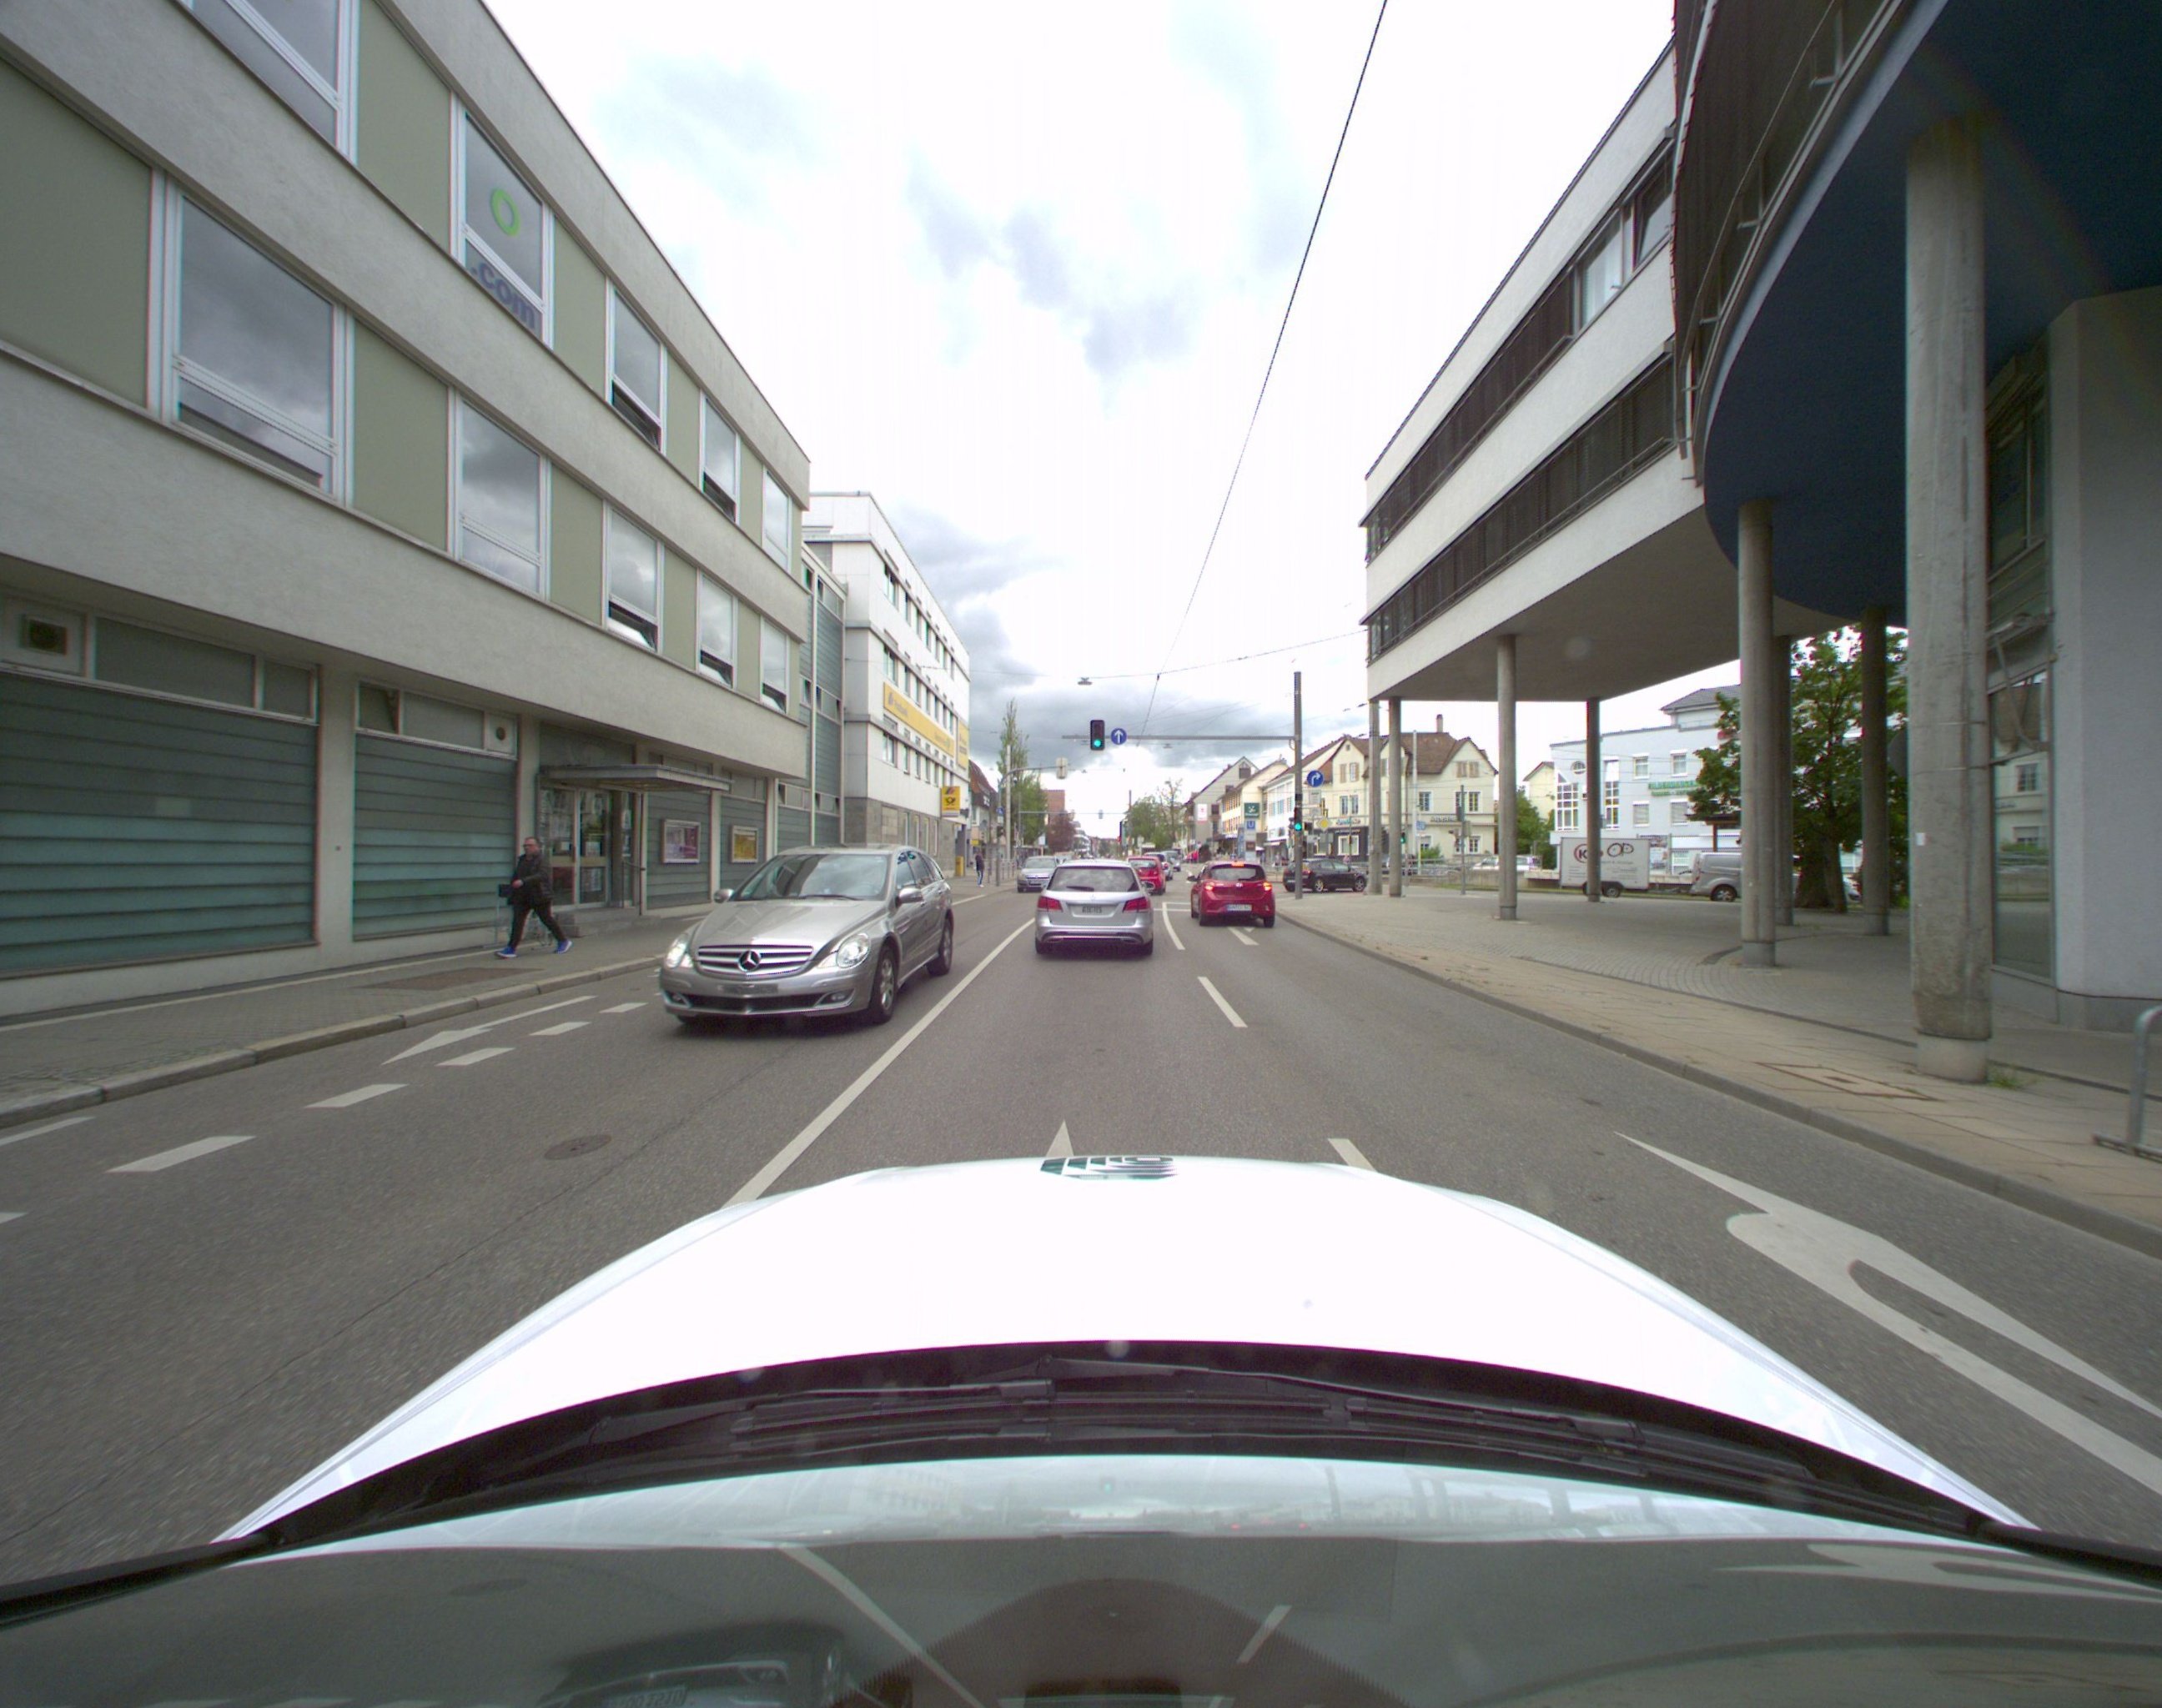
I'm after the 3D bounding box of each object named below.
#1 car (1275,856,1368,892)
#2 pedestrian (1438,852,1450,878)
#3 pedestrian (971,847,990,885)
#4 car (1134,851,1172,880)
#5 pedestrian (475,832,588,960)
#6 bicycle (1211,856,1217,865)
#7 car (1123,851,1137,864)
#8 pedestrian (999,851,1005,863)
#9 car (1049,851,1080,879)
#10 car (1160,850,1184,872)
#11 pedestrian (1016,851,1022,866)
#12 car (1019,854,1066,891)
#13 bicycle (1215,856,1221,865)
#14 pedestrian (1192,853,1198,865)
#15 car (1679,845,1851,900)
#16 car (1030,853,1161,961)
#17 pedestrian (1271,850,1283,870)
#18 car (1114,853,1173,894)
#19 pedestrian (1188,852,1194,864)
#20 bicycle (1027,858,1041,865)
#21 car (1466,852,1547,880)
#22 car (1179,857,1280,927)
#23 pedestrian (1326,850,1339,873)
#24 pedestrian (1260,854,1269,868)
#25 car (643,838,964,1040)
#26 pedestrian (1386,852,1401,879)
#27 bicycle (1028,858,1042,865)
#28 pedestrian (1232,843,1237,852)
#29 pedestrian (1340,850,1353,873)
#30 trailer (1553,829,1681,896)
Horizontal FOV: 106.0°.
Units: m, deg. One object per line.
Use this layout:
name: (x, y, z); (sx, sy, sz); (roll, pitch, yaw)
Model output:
car: (10.376, 0.816, 35.050); (4.017, 1.410, 1.721); (-1, 0, -36)
pedestrian: (24.304, 0.736, 54.546); (0.641, 1.718, 0.794); (2, 0, 28)
pedestrian: (-4.555, 0.528, 36.988); (0.644, 1.718, 0.785); (1, 0, 8)
car: (4.013, 0.622, 45.917); (1.729, 1.508, 3.998); (0, 0, -1)
pedestrian: (-7.741, 0.568, 11.533); (0.859, 1.718, 1.031); (1, 0, -1)
bicycle: (15.400, 0.752, 94.486); (0.446, 1.091, 2.150); (0, 0, 2)
car: (8.030, 0.520, 132.958); (1.987, 2.013, 3.999); (0, 0, -1)
pedestrian: (-10.594, 0.418, 109.210); (0.704, 1.606, 0.576); (0, 0, -20)
car: (-1.074, 0.698, 53.772); (1.792, 1.694, 3.899); (-1, 0, 2)
car: (7.438, 0.530, 66.733); (1.727, 1.759, 4.003); (0, 0, 3)
pedestrian: (-6.507, 0.488, 85.376); (0.634, 1.606, 0.702); (0, 0, -12)
car: (-1.558, 0.728, 34.117); (1.651, 1.466, 3.922); (-1, 0, 2)
bicycle: (15.848, 0.743, 94.479); (0.446, 1.107, 2.150); (0, 0, 2)
pedestrian: (14.538, 0.606, 103.978); (0.577, 1.469, 0.650); (1, 0, -5)
car: (25.768, 0.678, 30.949); (4.843, 1.946, 1.896); (0, -1, 34)
car: (0.187, 0.761, 13.756); (1.840, 1.508, 4.169); (1, 0, -1)
pedestrian: (17.082, 0.522, 70.990); (0.839, 1.718, 0.726); (0, 0, -2)
car: (2.525, 0.727, 32.137); (1.722, 1.508, 4.014); (0, 0, 13)
pedestrian: (14.521, 0.517, 107.190); (0.577, 1.666, 0.649); (1, 0, -8)
bicycle: (-6.717, 1.040, 116.829); (1.937, 1.029, 0.529); (1, 0, -9)
car: (30.564, 0.818, 58.635); (1.999, 1.919, 4.729); (2, -1, -38)
car: (3.489, 0.844, 19.776); (1.693, 1.452, 4.000); (2, 0, 0)
pedestrian: (18.907, 0.552, 61.289); (0.704, 1.718, 0.646); (0, 0, -18)
pedestrian: (21.083, 0.847, 93.653); (0.642, 1.591, 0.892); (1, 0, -19)
car: (-2.619, 0.696, 9.047); (1.769, 1.632, 4.770); (-1, 0, 2)
pedestrian: (20.139, 0.758, 52.503); (0.708, 1.718, 0.642); (0, 0, -37)
bicycle: (-6.596, 1.040, 116.168); (1.937, 1.029, 0.529); (1, 0, -9)
pedestrian: (20.767, -0.844, 110.042); (0.531, 1.218, 0.579); (1, 0, -1)
pedestrian: (19.810, 0.562, 60.758); (0.641, 1.718, 0.794); (2, 0, 39)
trailer: (21.945, 0.332, 33.490); (4.267, 2.613, 1.895); (0, -1, 33)
